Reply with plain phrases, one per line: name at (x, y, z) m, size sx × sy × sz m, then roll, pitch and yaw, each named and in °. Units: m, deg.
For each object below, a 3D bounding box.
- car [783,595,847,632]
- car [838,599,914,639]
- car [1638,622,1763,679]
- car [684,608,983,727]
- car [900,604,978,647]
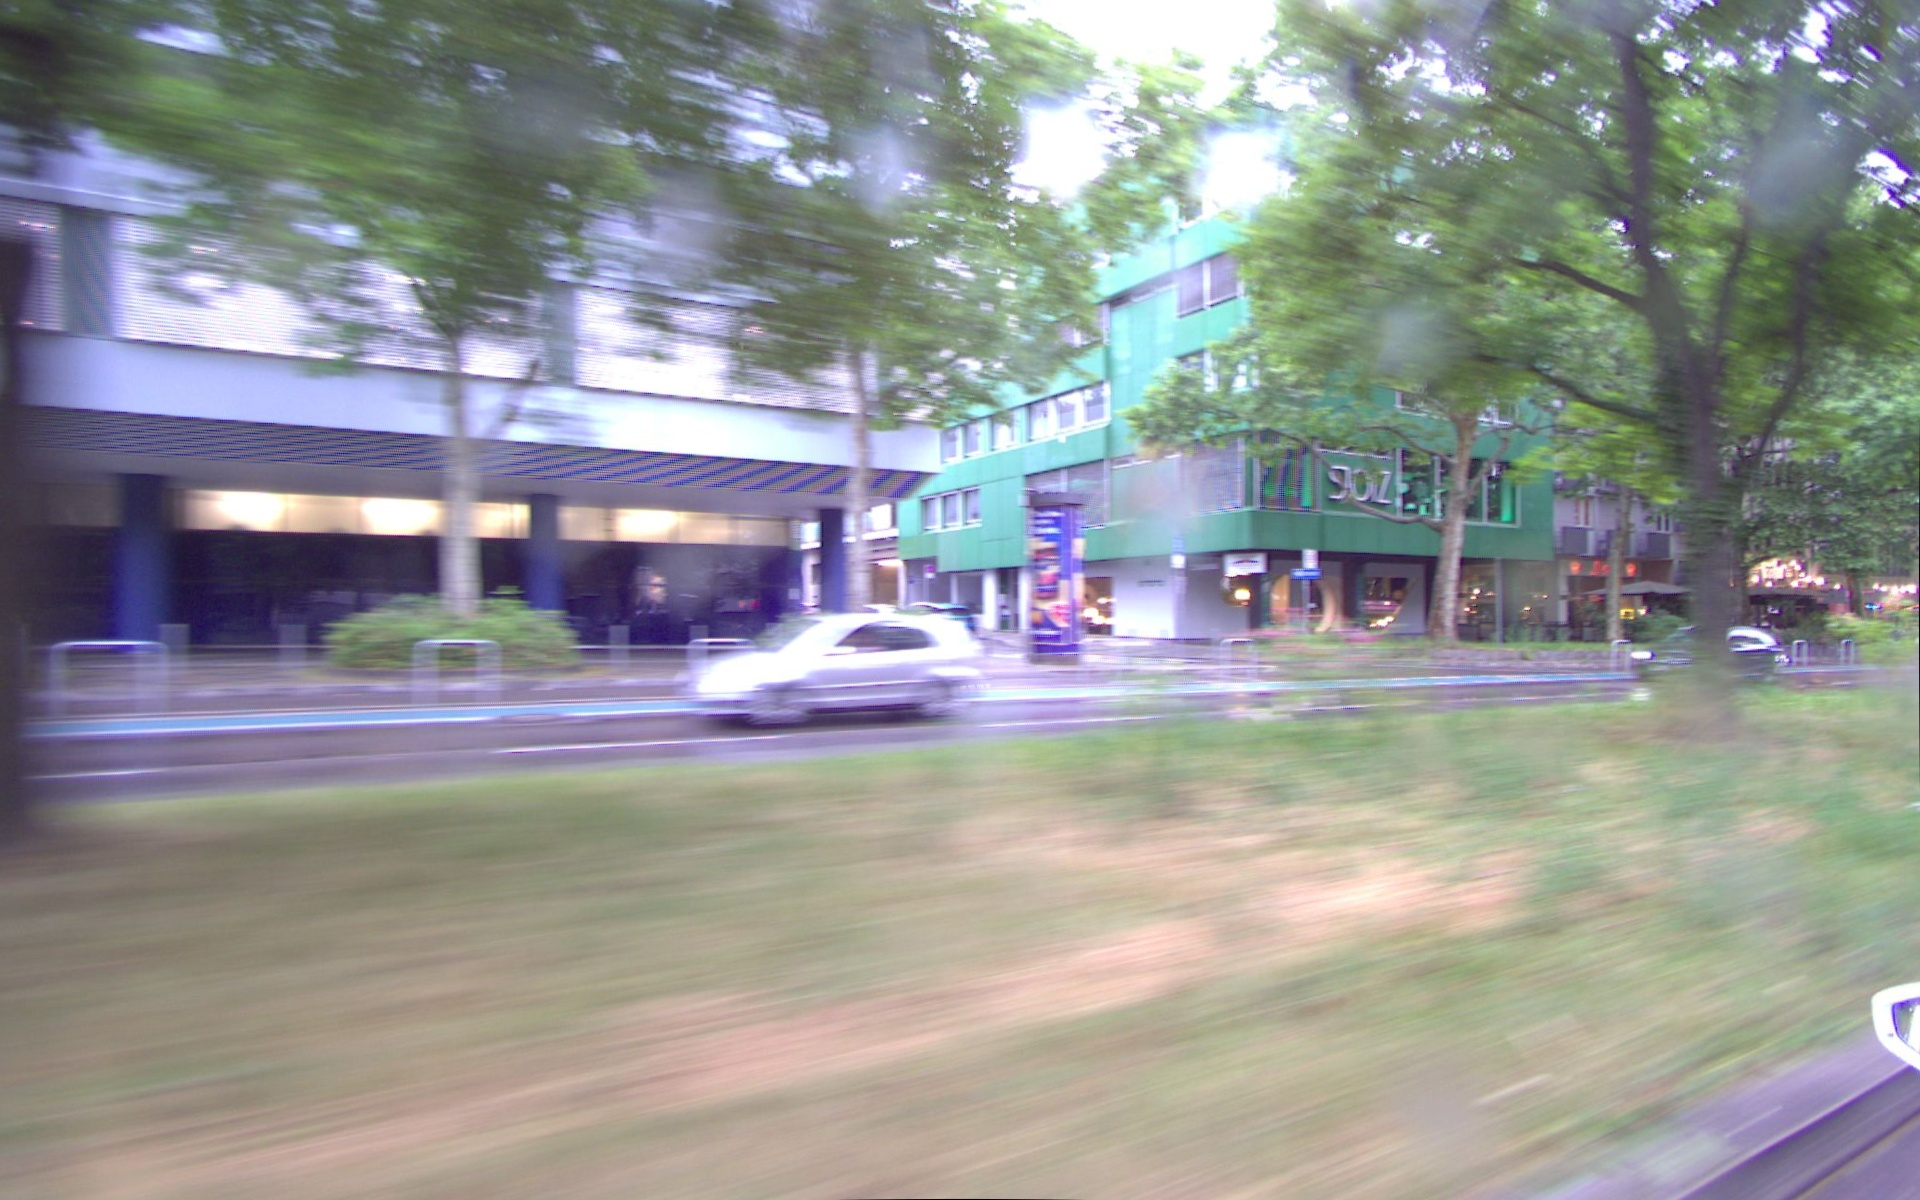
car at (-6.686, 0.589, 46.054) m, size 1.678 × 1.538 × 3.603 m, roll 2°, pitch 0°, yaw -30°
car at (-3.477, 0.752, 40.922) m, size 1.678 × 1.488 × 3.603 m, roll 2°, pitch 0°, yaw -30°
car at (18.804, 1.253, 25.474) m, size 3.613 × 1.275 × 1.675 m, roll 2°, pitch 0°, yaw -39°
car at (-1.713, 0.884, 13.888) m, size 3.767 × 1.454 × 1.641 m, roll 2°, pitch -1°, yaw -30°
car at (-0.810, 0.907, 36.864) m, size 1.660 × 1.396 × 3.490 m, roll 2°, pitch 0°, yaw -23°
